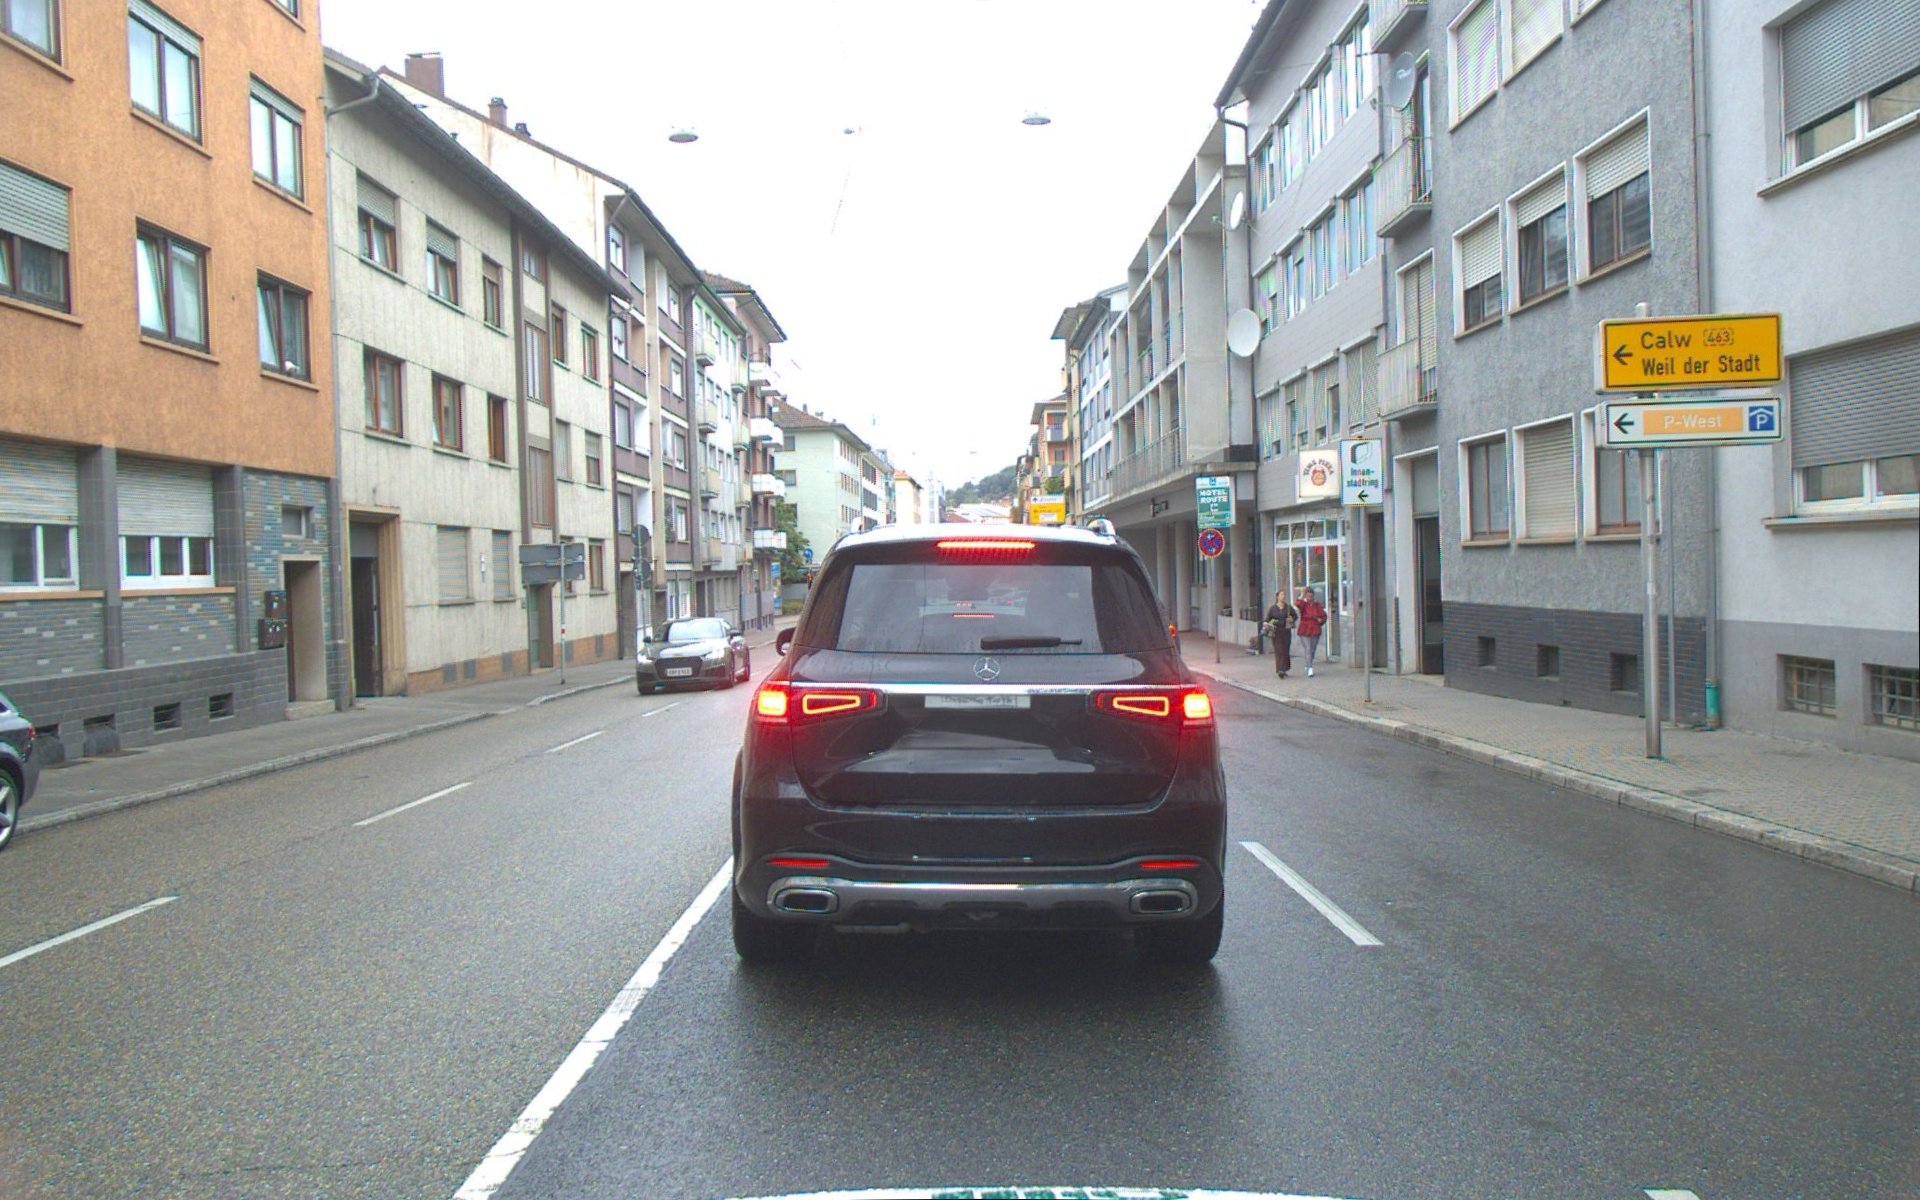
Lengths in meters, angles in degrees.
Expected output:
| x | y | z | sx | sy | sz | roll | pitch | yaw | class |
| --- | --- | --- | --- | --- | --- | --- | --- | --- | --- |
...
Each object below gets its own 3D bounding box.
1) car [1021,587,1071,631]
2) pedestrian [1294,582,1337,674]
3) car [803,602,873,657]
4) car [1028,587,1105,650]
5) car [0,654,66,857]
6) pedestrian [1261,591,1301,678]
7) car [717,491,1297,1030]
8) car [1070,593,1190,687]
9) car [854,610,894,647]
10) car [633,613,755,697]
| x | y | z | sx | sy | sz | roll | pitch | yaw | class |
| --- | --- | --- | --- | --- | --- | --- | --- | --- | --- |
| 3.322 | 0.332 | 64.429 | 1.771 | 1.634 | 4.212 | 0 | 0 | 1 | car |
| 6.384 | 0.501 | 29.694 | 0.549 | 1.606 | 0.526 | -4 | 0 | -2 | pedestrian |
| -3.513 | 0.828 | 48.237 | 1.690 | 1.414 | 4.338 | -3 | 0 | -1 | car |
| 3.168 | 0.537 | 50.173 | 1.901 | 1.806 | 4.744 | 0 | 0 | -2 | car |
| -7.965 | 1.161 | 10.891 | 1.759 | 1.463 | 4.525 | 1 | 0 | -1 | car |
| 5.787 | 0.612 | 29.835 | 0.496 | 1.526 | 0.562 | -4 | 0 | -2 | pedestrian |
| 0.122 | 0.557 | 7.742 | 1.984 | 1.837 | 3.999 | 1 | 0 | -1 | car |
| 3.065 | 0.685 | 30.446 | 1.731 | 1.608 | 3.999 | 0 | 0 | -1 | car |
| -4.138 | 1.351 | 79.730 | 1.698 | 1.602 | 4.010 | -5 | 0 | -1 | car |
| -5.153 | 1.032 | 32.513 | 1.732 | 1.369 | 3.887 | -5 | 0 | -1 | car |
